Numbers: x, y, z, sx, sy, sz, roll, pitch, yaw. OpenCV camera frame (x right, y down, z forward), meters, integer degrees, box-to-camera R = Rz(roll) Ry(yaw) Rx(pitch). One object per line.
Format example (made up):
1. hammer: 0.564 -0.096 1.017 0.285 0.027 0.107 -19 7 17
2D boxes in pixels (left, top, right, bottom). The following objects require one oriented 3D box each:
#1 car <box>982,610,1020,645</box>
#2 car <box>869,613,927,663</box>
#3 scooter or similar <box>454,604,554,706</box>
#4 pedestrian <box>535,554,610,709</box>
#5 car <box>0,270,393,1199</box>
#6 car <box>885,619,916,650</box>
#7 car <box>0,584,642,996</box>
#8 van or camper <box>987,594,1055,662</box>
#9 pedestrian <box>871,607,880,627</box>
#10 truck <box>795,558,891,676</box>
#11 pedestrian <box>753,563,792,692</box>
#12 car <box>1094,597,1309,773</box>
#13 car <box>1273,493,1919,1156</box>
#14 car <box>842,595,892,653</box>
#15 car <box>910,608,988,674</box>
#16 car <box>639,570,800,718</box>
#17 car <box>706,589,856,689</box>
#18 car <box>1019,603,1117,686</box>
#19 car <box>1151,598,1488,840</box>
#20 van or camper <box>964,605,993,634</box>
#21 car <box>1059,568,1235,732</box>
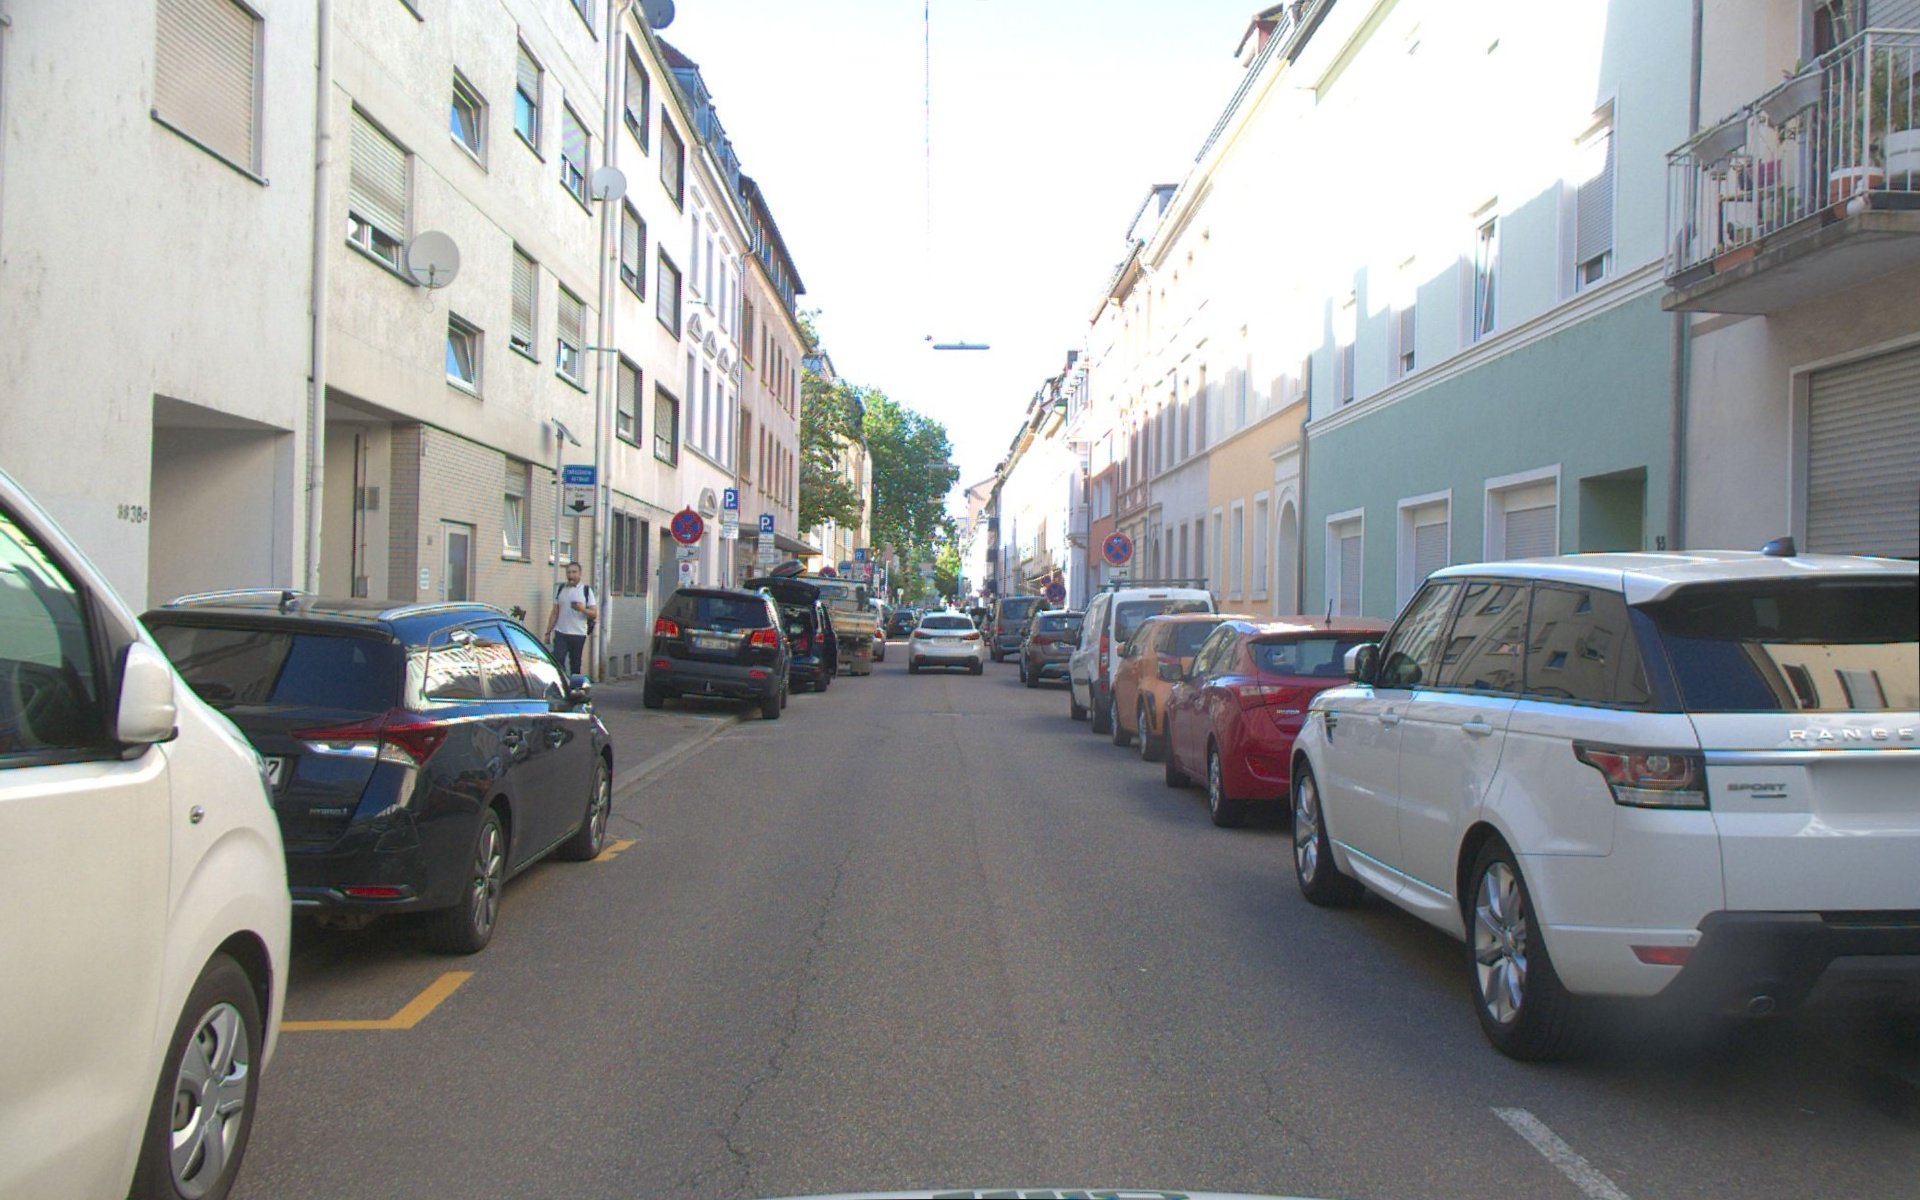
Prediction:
1. car: 1.907 1.262 77.430 1.613 1.604 3.678 1 0 -1
2. car: -1.922 1.144 51.224 1.723 1.440 3.998 -1 0 -2
3. scooter or similar: -5.928 0.698 21.533 0.430 1.300 1.227 0 -1 40
4. pedestrian: -4.983 0.398 21.297 0.789 1.968 0.690 0 -1 -1
5. car: -2.449 0.435 2.206 1.856 1.992 4.779 3 0 -3
6. car: -3.316 1.924 92.236 1.592 1.625 3.579 2 0 -1
7. car: -2.781 0.716 8.238 1.672 1.475 4.299 2 0 -2
8. van or camper: 1.909 0.875 52.791 1.740 2.072 4.567 -1 -1 -3
9. pedestrian: -6.424 1.314 125.844 0.614 1.490 0.575 0 -2 -1
10. truck: -2.913 0.467 40.192 2.115 2.636 6.241 0 -1 -5
11. pedestrian: -3.330 0.489 29.464 0.606 2.268 0.688 0 -2 -1
12. car: 2.509 0.832 17.978 1.549 1.660 3.679 2 0 -3
13. car: 2.835 0.614 7.034 1.965 1.815 4.937 1 0 -1
14. car: -3.208 0.809 56.981 1.614 1.900 3.997 1 0 -4
15. car: -0.257 0.964 40.630 1.796 1.512 4.056 1 0 0
16. car: -3.325 0.557 23.648 1.843 1.786 4.539 4 0 -4
17. car: -3.376 0.707 32.340 2.392 1.735 5.241 1 0 -1
18. car: 2.231 0.888 35.094 1.704 1.604 4.376 1 0 -1
19. car: 2.651 0.799 13.142 1.707 1.596 4.031 1 0 -1
20. van or camper: 1.276 1.376 115.363 1.953 1.960 3.999 0 -2 -1
21. car: 2.441 0.637 22.560 1.746 1.996 4.334 1 -1 -2
